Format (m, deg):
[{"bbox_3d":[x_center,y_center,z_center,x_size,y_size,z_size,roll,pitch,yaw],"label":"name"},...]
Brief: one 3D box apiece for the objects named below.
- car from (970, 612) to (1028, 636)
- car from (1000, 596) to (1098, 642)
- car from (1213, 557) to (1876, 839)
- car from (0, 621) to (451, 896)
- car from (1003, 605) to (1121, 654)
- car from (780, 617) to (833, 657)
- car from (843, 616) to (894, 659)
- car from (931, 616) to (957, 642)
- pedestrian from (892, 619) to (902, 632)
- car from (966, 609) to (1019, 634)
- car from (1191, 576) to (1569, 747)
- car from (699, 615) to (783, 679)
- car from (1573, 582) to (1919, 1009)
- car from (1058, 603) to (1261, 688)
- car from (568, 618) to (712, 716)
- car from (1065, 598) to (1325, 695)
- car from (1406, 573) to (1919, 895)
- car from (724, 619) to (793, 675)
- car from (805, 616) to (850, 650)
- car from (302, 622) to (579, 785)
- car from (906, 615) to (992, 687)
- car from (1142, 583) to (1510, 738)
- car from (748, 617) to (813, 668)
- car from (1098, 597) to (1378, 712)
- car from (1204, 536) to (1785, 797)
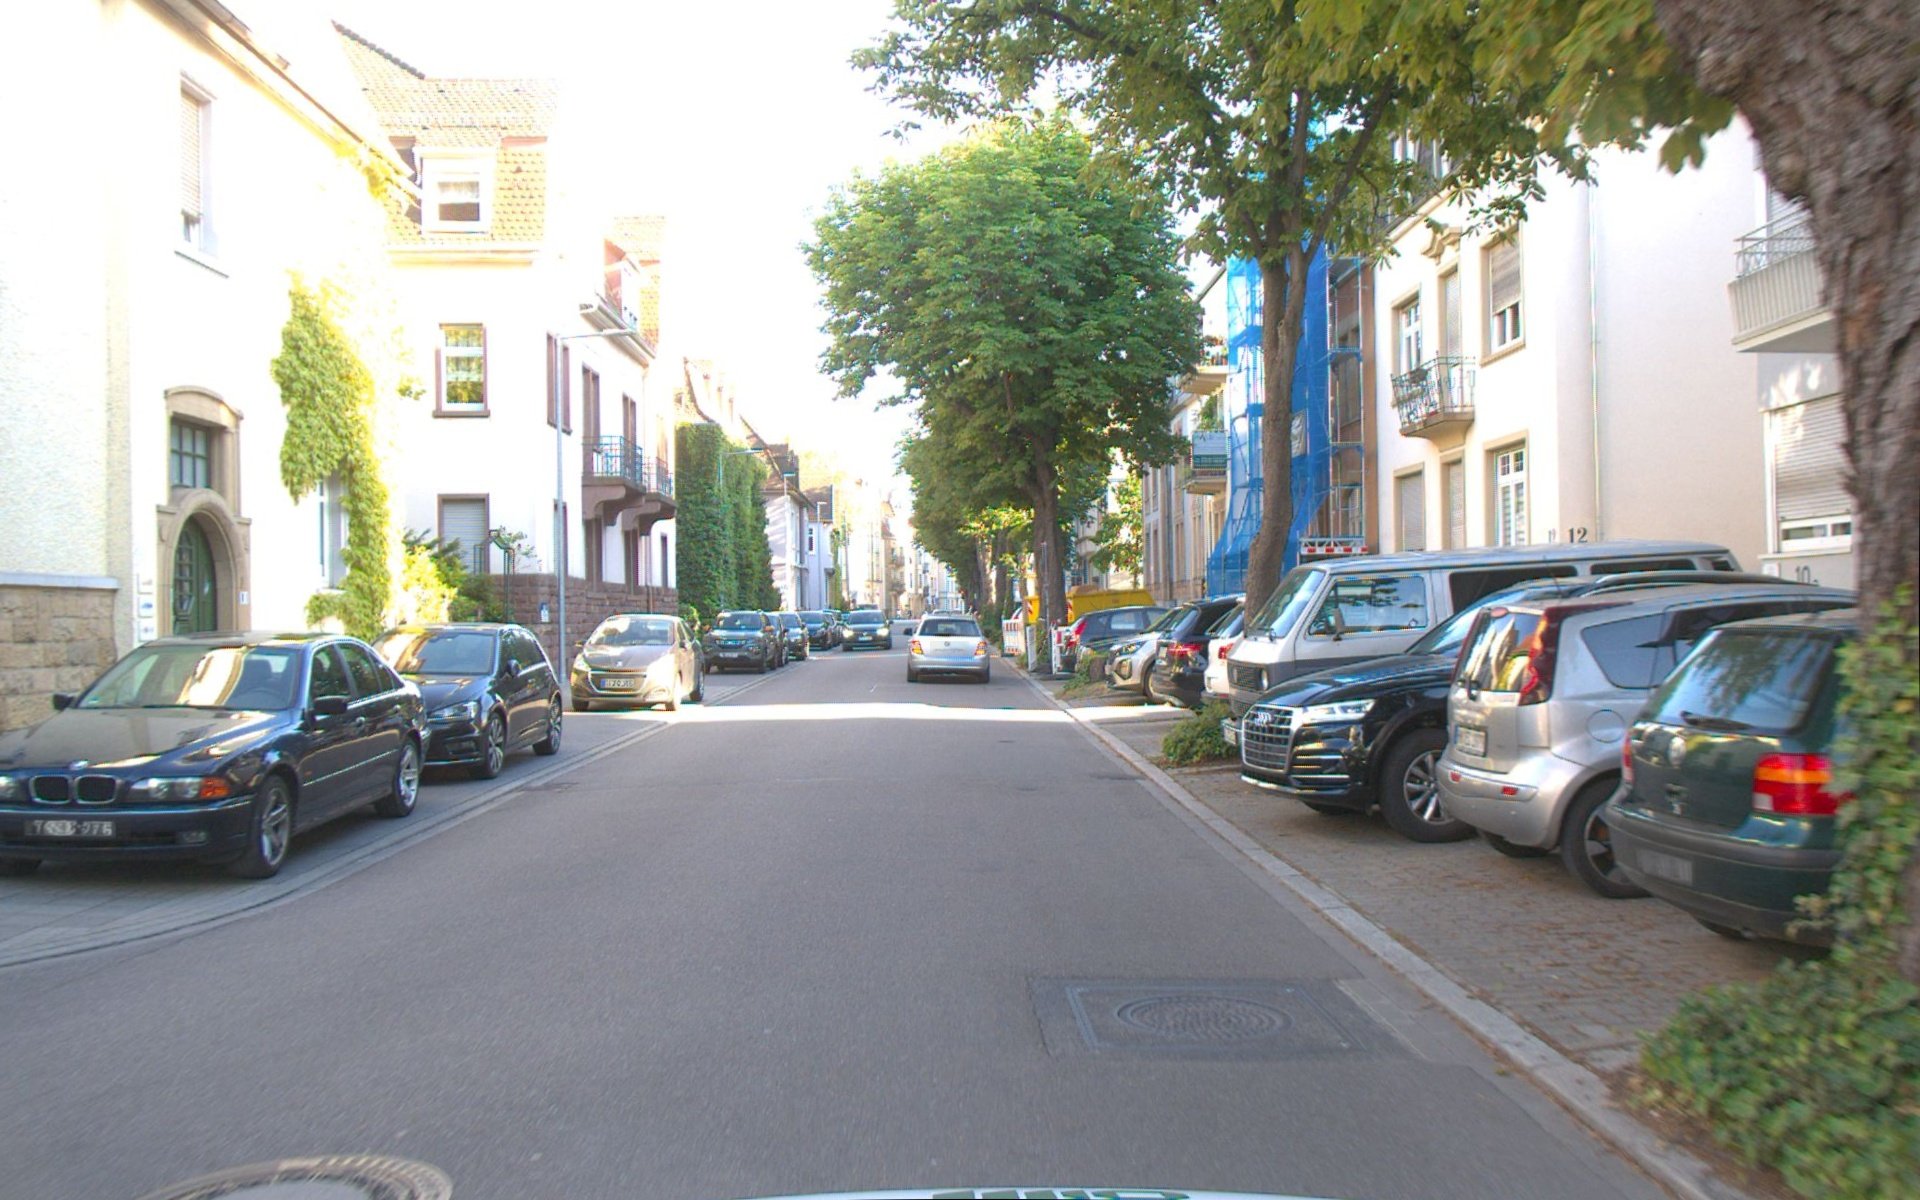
[{"bbox_3d":[2.812,1.740,119.083,4.103,1.501,1.852,-3,-1,1],"label":"car"},{"bbox_3d":[3.988,0.856,74.589,4.227,1.838,1.999,-2,-1,-1],"label":"car"},{"bbox_3d":[4.055,0.640,11.803,4.097,1.754,1.762,-1,-1,-8],"label":"car"},{"bbox_3d":[-5.012,0.913,11.510,1.675,1.496,4.631,0,-1,-3],"label":"car"},{"bbox_3d":[3.591,1.040,58.719,4.059,1.561,1.687,-3,-1,1],"label":"car"},{"bbox_3d":[-5.767,1.361,62.500,1.616,1.446,4.098,0,-1,-1],"label":"car"},{"bbox_3d":[-3.387,1.376,61.620,1.736,1.474,3.999,-1,0,-1],"label":"car"},{"bbox_3d":[-0.990,1.809,103.627,1.590,1.597,3.679,-1,0,0],"label":"car"},{"bbox_3d":[-8.371,3.427,220.710,1.195,1.752,1.503,0,-1,2],"label":"pedestrian"},{"bbox_3d":[2.637,1.770,135.781,4.136,1.929,1.904,-2,-1,-3],"label":"car"},{"bbox_3d":[4.694,0.668,18.895,3.867,1.712,1.706,-2,0,2],"label":"car"},{"bbox_3d":[-5.415,1.128,41.217,1.620,1.512,3.763,0,-1,-1],"label":"car"},{"bbox_3d":[4.633,0.669,6.652,3.646,1.456,1.758,-1,-2,-3],"label":"car"},{"bbox_3d":[4.030,0.923,33.951,3.905,1.518,1.851,-3,-1,0],"label":"car"},{"bbox_3d":[-5.170,1.034,27.173,1.620,1.472,4.004,0,-1,-1],"label":"car"},{"bbox_3d":[4.395,0.869,31.423,4.622,1.562,1.850,-3,-1,-1],"label":"car"},{"bbox_3d":[4.565,0.674,9.261,3.646,1.581,1.638,-1,-1,-3],"label":"car"},{"bbox_3d":[-5.515,1.261,45.526,1.620,1.472,3.841,0,-1,-3],"label":"car"},{"bbox_3d":[-5.983,1.477,75.060,1.669,1.486,3.917,0,-1,0],"label":"car"},{"bbox_3d":[-5.178,0.963,17.039,1.620,1.440,4.166,0,-1,-2],"label":"car"},{"bbox_3d":[-0.232,1.089,35.630,1.747,1.463,3.850,0,-1,0],"label":"car"},{"bbox_3d":[4.570,0.735,21.067,4.244,1.712,1.705,-2,0,-2],"label":"car"},{"bbox_3d":[-5.538,1.295,51.473,1.757,1.487,4.774,0,-1,-3],"label":"car"},{"bbox_3d":[4.343,0.838,26.267,4.072,1.566,1.850,-3,-1,-1],"label":"car"},{"bbox_3d":[4.478,0.538,14.311,4.380,2.049,1.895,-1,-1,-3],"label":"car"}]
